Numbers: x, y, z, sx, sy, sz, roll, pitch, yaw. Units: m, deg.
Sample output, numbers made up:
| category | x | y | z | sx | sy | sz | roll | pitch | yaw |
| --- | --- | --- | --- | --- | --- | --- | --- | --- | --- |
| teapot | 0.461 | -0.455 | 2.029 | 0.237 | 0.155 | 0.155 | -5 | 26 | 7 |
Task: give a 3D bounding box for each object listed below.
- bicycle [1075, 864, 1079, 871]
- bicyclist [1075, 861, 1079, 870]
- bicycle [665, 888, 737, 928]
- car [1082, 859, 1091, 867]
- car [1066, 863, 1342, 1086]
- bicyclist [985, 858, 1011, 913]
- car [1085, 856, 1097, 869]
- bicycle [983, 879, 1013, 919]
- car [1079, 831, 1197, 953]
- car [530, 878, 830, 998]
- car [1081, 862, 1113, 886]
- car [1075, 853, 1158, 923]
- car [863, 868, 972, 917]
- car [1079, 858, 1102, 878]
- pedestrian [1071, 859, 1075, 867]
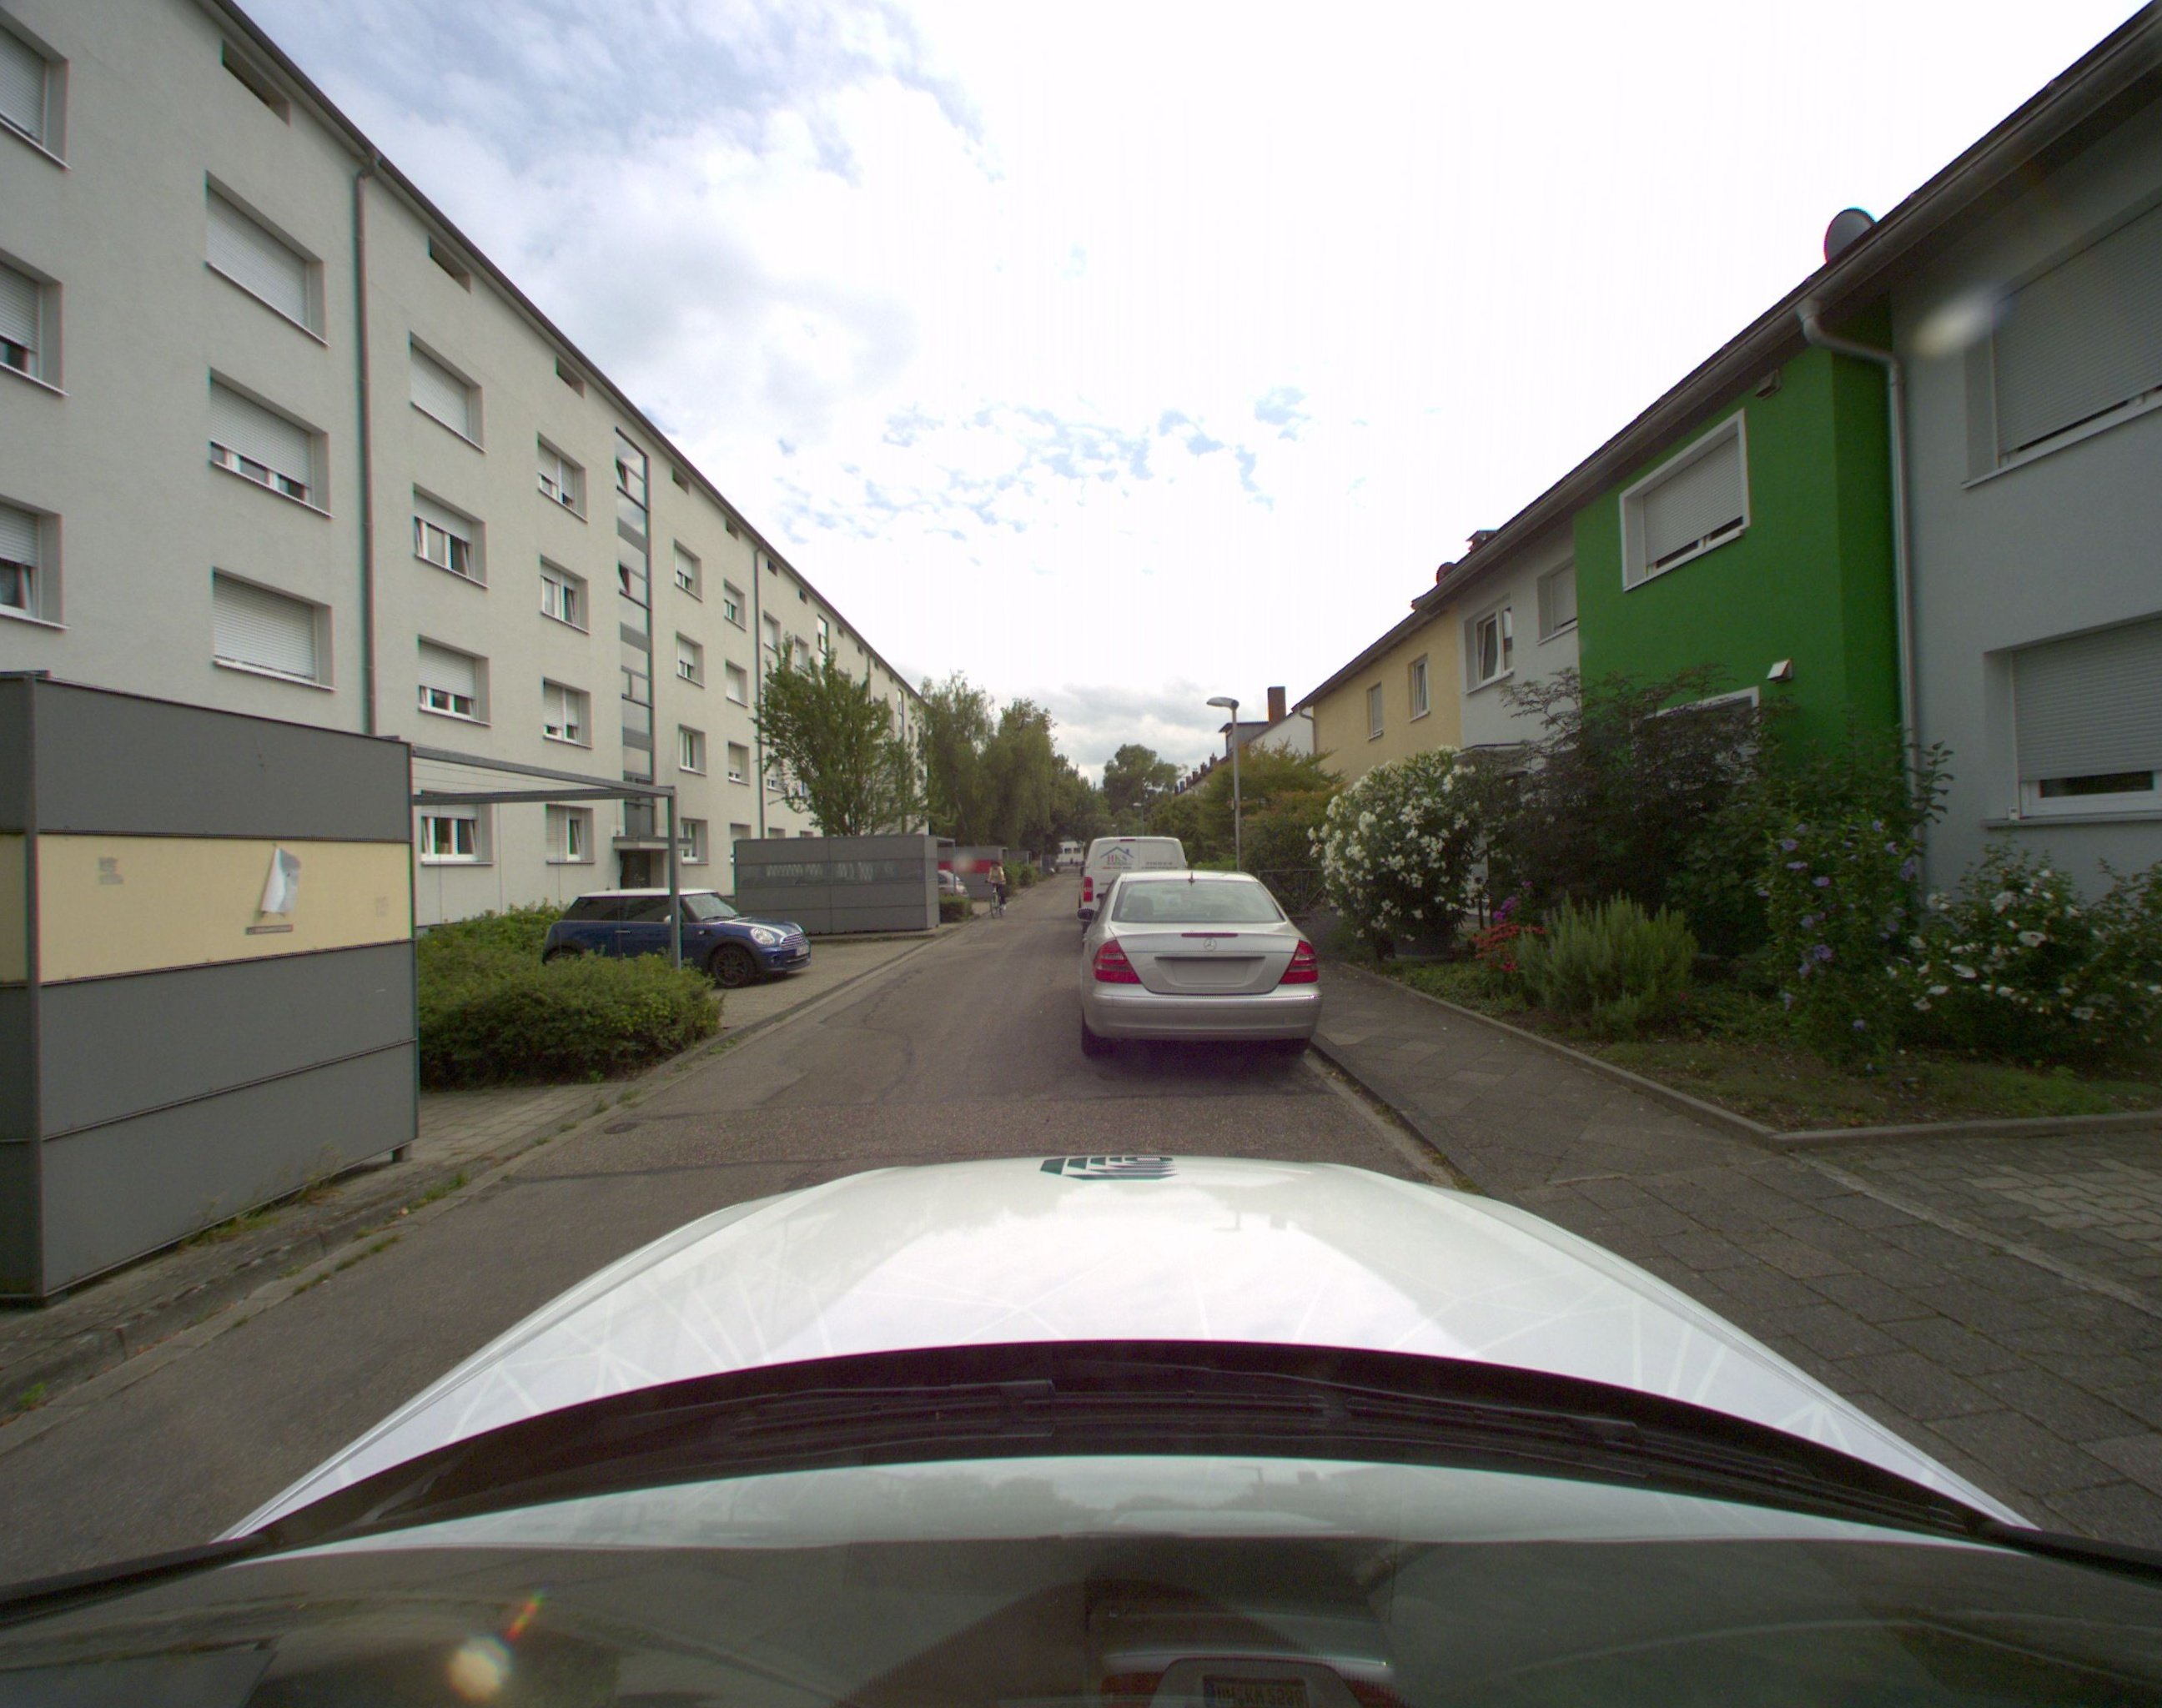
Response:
| category | x | y | z | sx | sy | sz | roll | pitch | yaw |
| --- | --- | --- | --- | --- | --- | --- | --- | --- | --- |
| bicycle | -0.695 | 2.330 | 142.925 | 0.686 | 1.131 | 2.580 | 0 | -1 | 2 |
| bicyclist | -0.707 | 1.976 | 142.865 | 0.795 | 1.511 | 0.934 | 0 | -1 | 2 |
| bicycle | -11.009 | 1.554 | 23.651 | 1.820 | 1.024 | 0.473 | -2 | -1 | -41 |
| car | 1.183 | 1.751 | 165.465 | 1.819 | 1.581 | 4.000 | 0 | 0 | 1 |
| car | 0.872 | 0.814 | 7.541 | 1.777 | 1.421 | 4.457 | -1 | -1 | 2 |
| bicyclist | -2.479 | 0.929 | 24.391 | 0.595 | 1.581 | 0.767 | -3 | -1 | 1 |
| car | 1.483 | 1.294 | 124.570 | 1.819 | 1.883 | 4.000 | 0 | 0 | 1 |
| bicycle | -2.460 | 1.320 | 24.331 | 0.595 | 1.076 | 2.043 | -3 | -1 | 2 |
| car | 0.916 | 0.634 | 15.882 | 1.898 | 1.964 | 5.252 | -1 | -1 | 0 |
| car | -5.904 | 1.209 | 12.255 | 3.619 | 1.461 | 1.654 | -3 | -1 | 3 |
| car | 0.962 | 1.170 | 49.274 | 1.819 | 1.370 | 4.331 | 0 | 0 | 1 |
| car | 0.836 | 0.826 | 21.578 | 1.820 | 1.636 | 4.158 | -1 | -1 | -3 |
| car | -5.794 | 1.340 | 29.172 | 3.555 | 1.480 | 1.708 | -3 | 0 | -5 |
| car | 0.794 | 1.128 | 68.058 | 1.820 | 1.581 | 3.998 | 0 | 0 | -1 |
| pedestrian | -1.651 | 1.873 | 169.447 | 0.774 | 1.805 | 0.547 | 0 | -1 | -1 |
